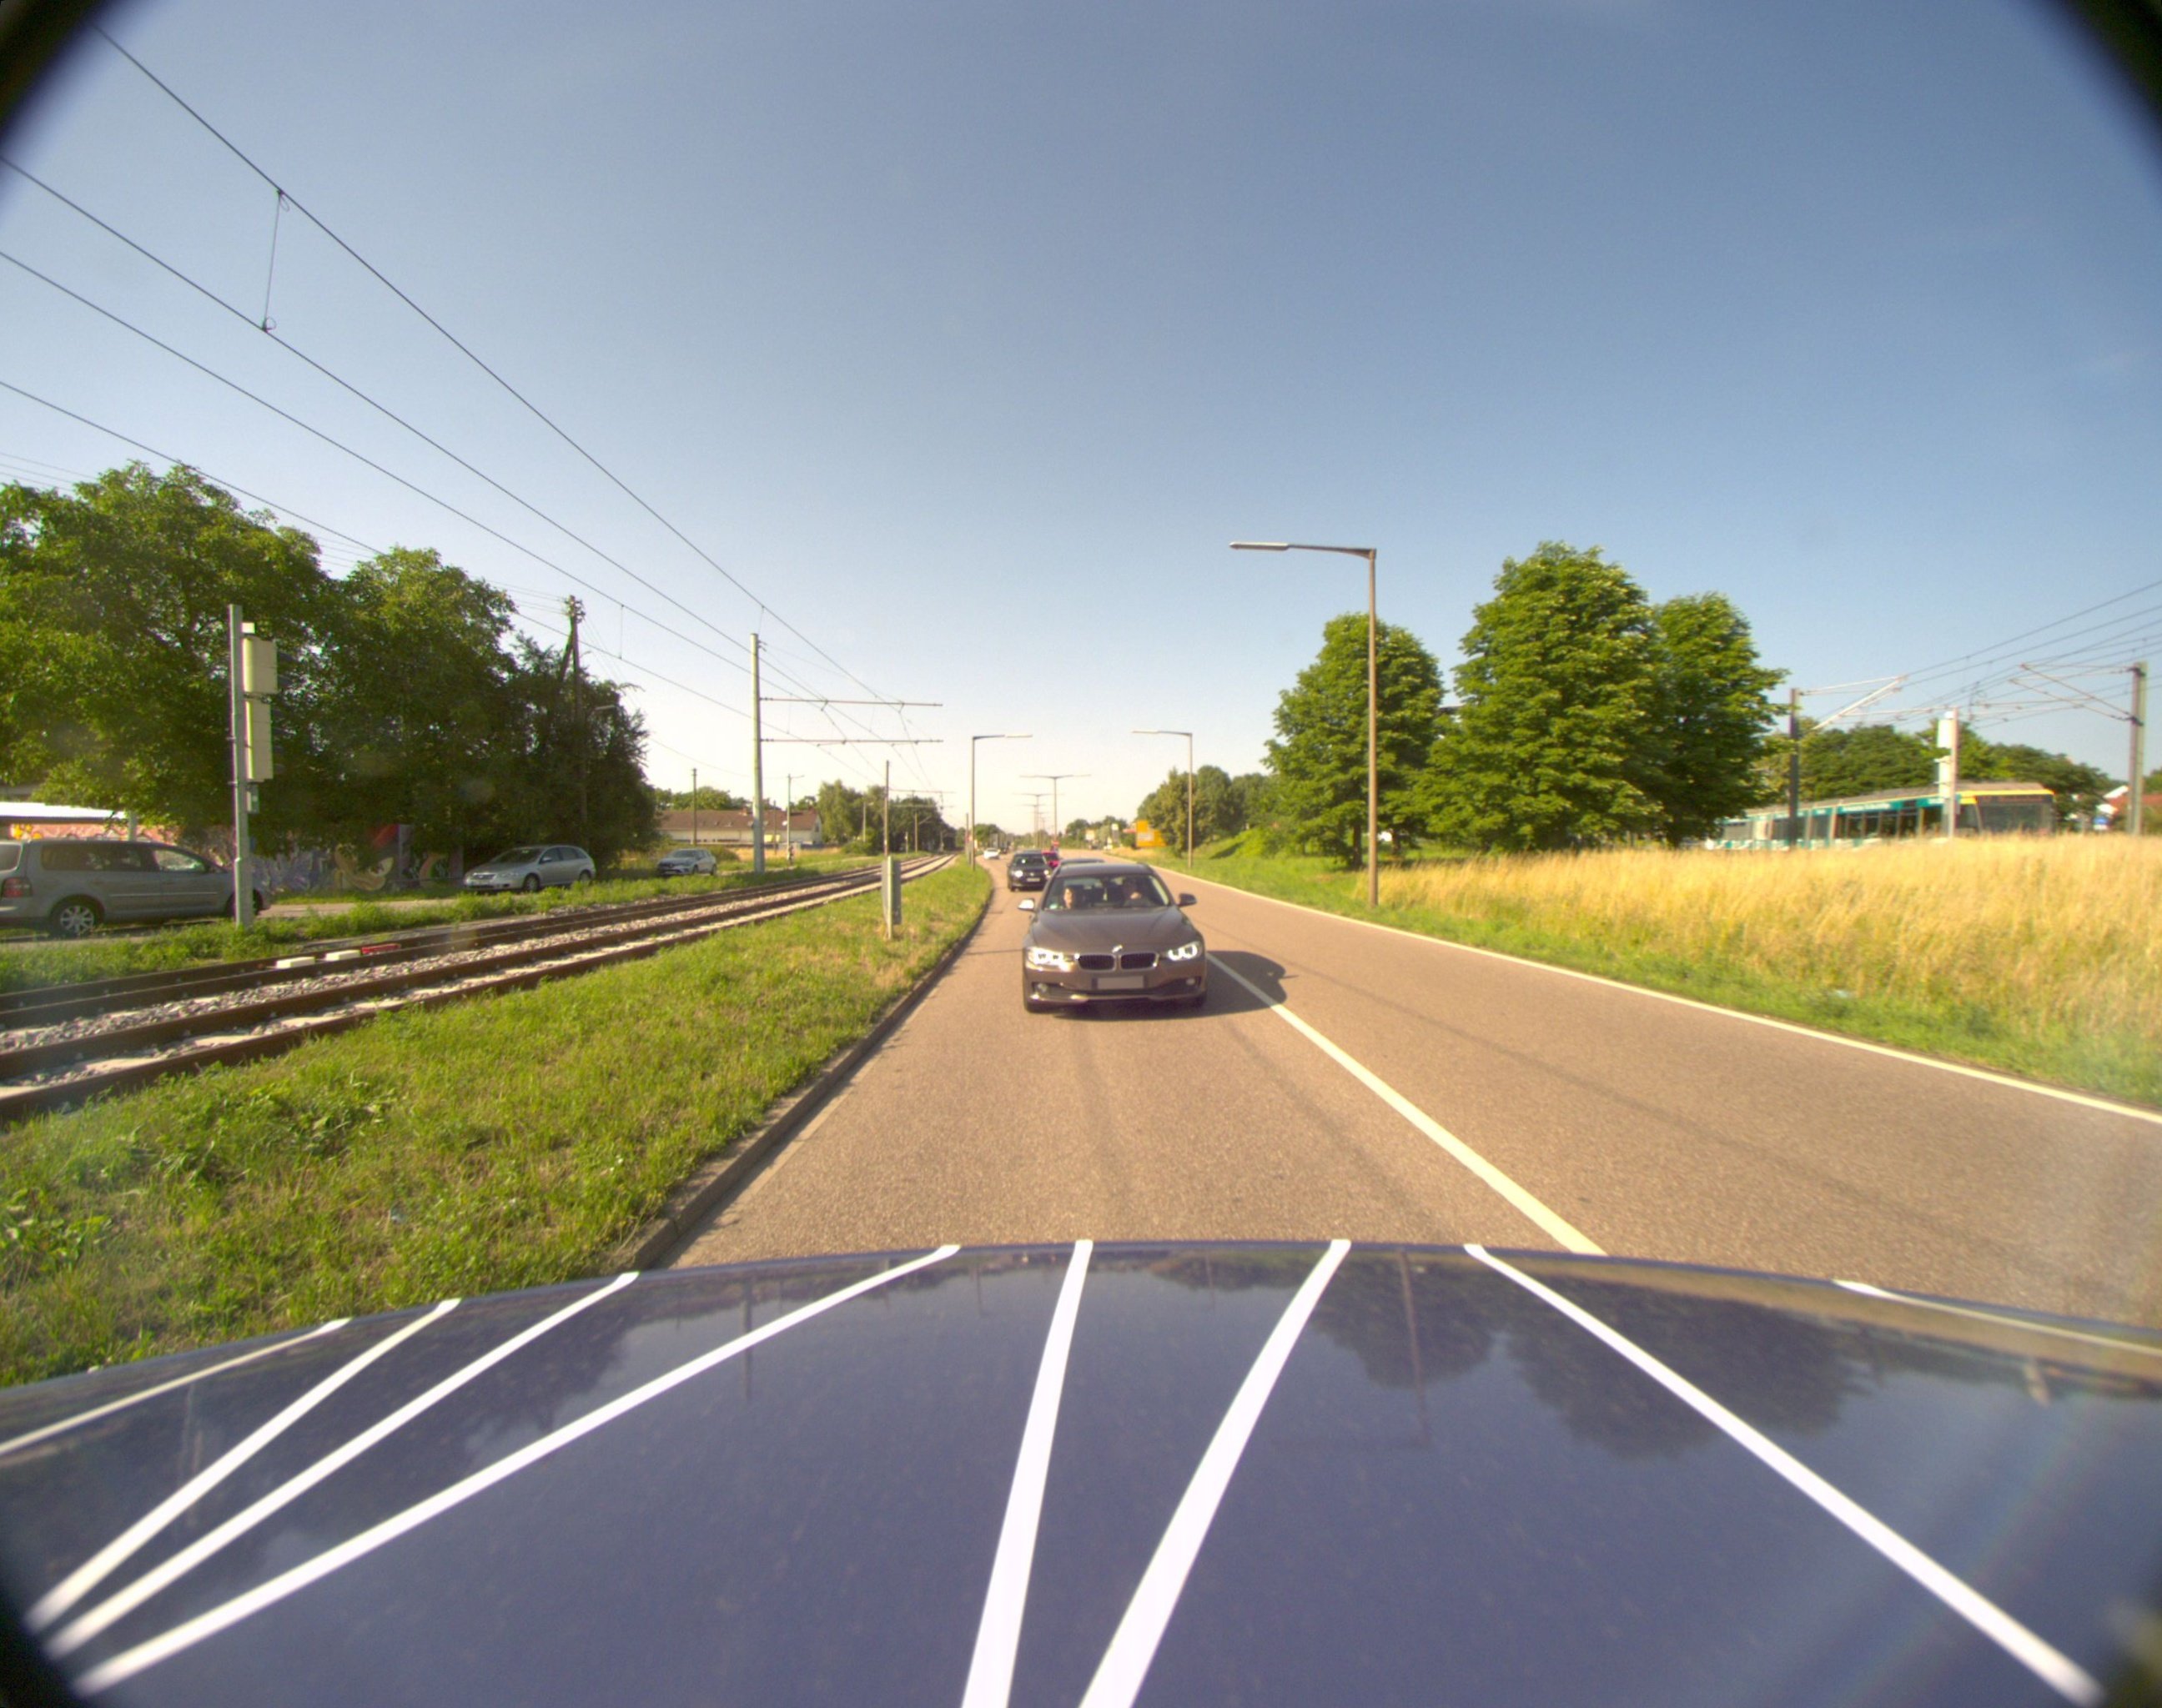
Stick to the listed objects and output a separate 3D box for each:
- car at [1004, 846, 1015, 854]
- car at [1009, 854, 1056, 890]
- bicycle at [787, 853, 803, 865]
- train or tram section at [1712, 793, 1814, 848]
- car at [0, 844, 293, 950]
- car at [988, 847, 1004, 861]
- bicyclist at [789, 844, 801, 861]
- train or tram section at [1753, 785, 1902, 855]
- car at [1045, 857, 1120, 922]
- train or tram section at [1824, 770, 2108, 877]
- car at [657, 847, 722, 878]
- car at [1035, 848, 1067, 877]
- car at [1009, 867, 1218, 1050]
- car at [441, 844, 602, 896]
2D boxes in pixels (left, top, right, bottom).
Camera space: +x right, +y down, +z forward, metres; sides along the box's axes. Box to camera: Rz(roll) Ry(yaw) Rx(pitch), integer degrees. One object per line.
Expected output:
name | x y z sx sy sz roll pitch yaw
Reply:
car | -14.225 -0.831 151.596 1.838 1.504 4.149 -2 1 -8
car | -2.129 0.709 32.774 1.848 1.347 4.152 -2 1 -4
bicycle | -21.821 0.354 58.032 0.644 0.904 1.812 -2 1 -5
train or tram section | 48.456 -2.320 54.414 2.952 3.465 12.186 -1 1 30
car | -17.039 0.626 13.582 1.527 1.601 4.481 0 1 -6
car | -10.838 -0.038 96.391 1.969 1.609 4.304 -1 1 -7
bicyclist | -21.838 -0.129 58.018 0.641 1.226 0.791 -2 1 -5
train or tram section | 42.506 -1.935 43.848 2.919 3.434 12.184 -1 2 29
car | 0.084 0.846 20.170 1.710 1.444 4.590 -2 0 1
train or tram section | 36.146 -1.365 32.159 2.908 3.549 14.281 -1 3 29
car | -19.331 0.398 37.741 1.539 1.440 4.128 0 1 -7
car | -1.710 0.435 42.347 1.608 1.504 4.266 -2 1 -4
car | 0.280 0.928 8.488 1.747 1.444 3.946 -2 0 0
car | -18.460 0.468 25.419 1.912 1.581 4.726 0 1 -1
